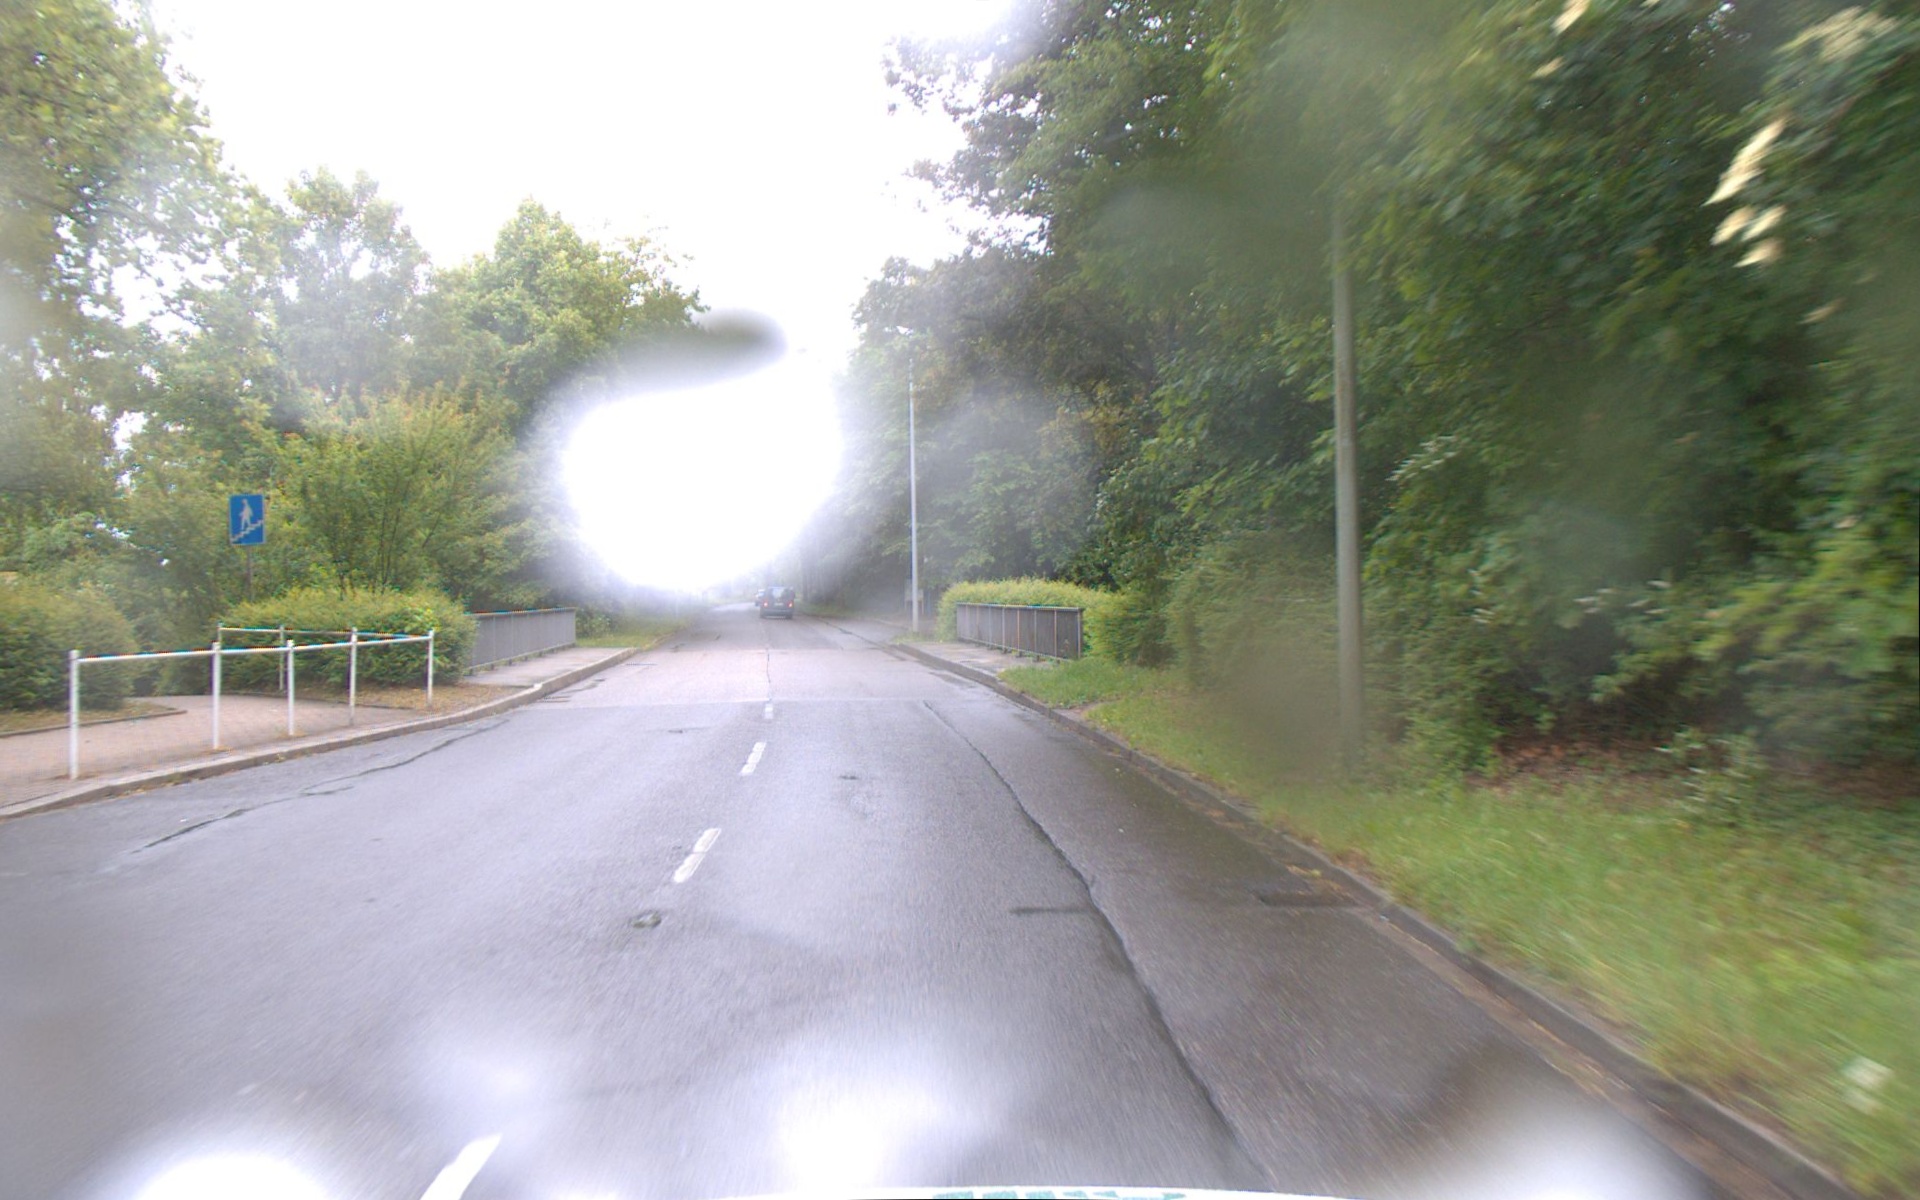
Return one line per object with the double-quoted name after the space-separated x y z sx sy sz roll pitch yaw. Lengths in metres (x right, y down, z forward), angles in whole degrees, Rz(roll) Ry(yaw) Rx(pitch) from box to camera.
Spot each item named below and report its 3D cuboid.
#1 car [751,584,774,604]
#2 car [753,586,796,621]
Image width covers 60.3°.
-18.443 -0.581 154.234 1.957 1.847 3.990 0 0 -10 "car"
-10.818 0.159 96.266 1.952 1.959 3.985 -1 1 -15 "car"
